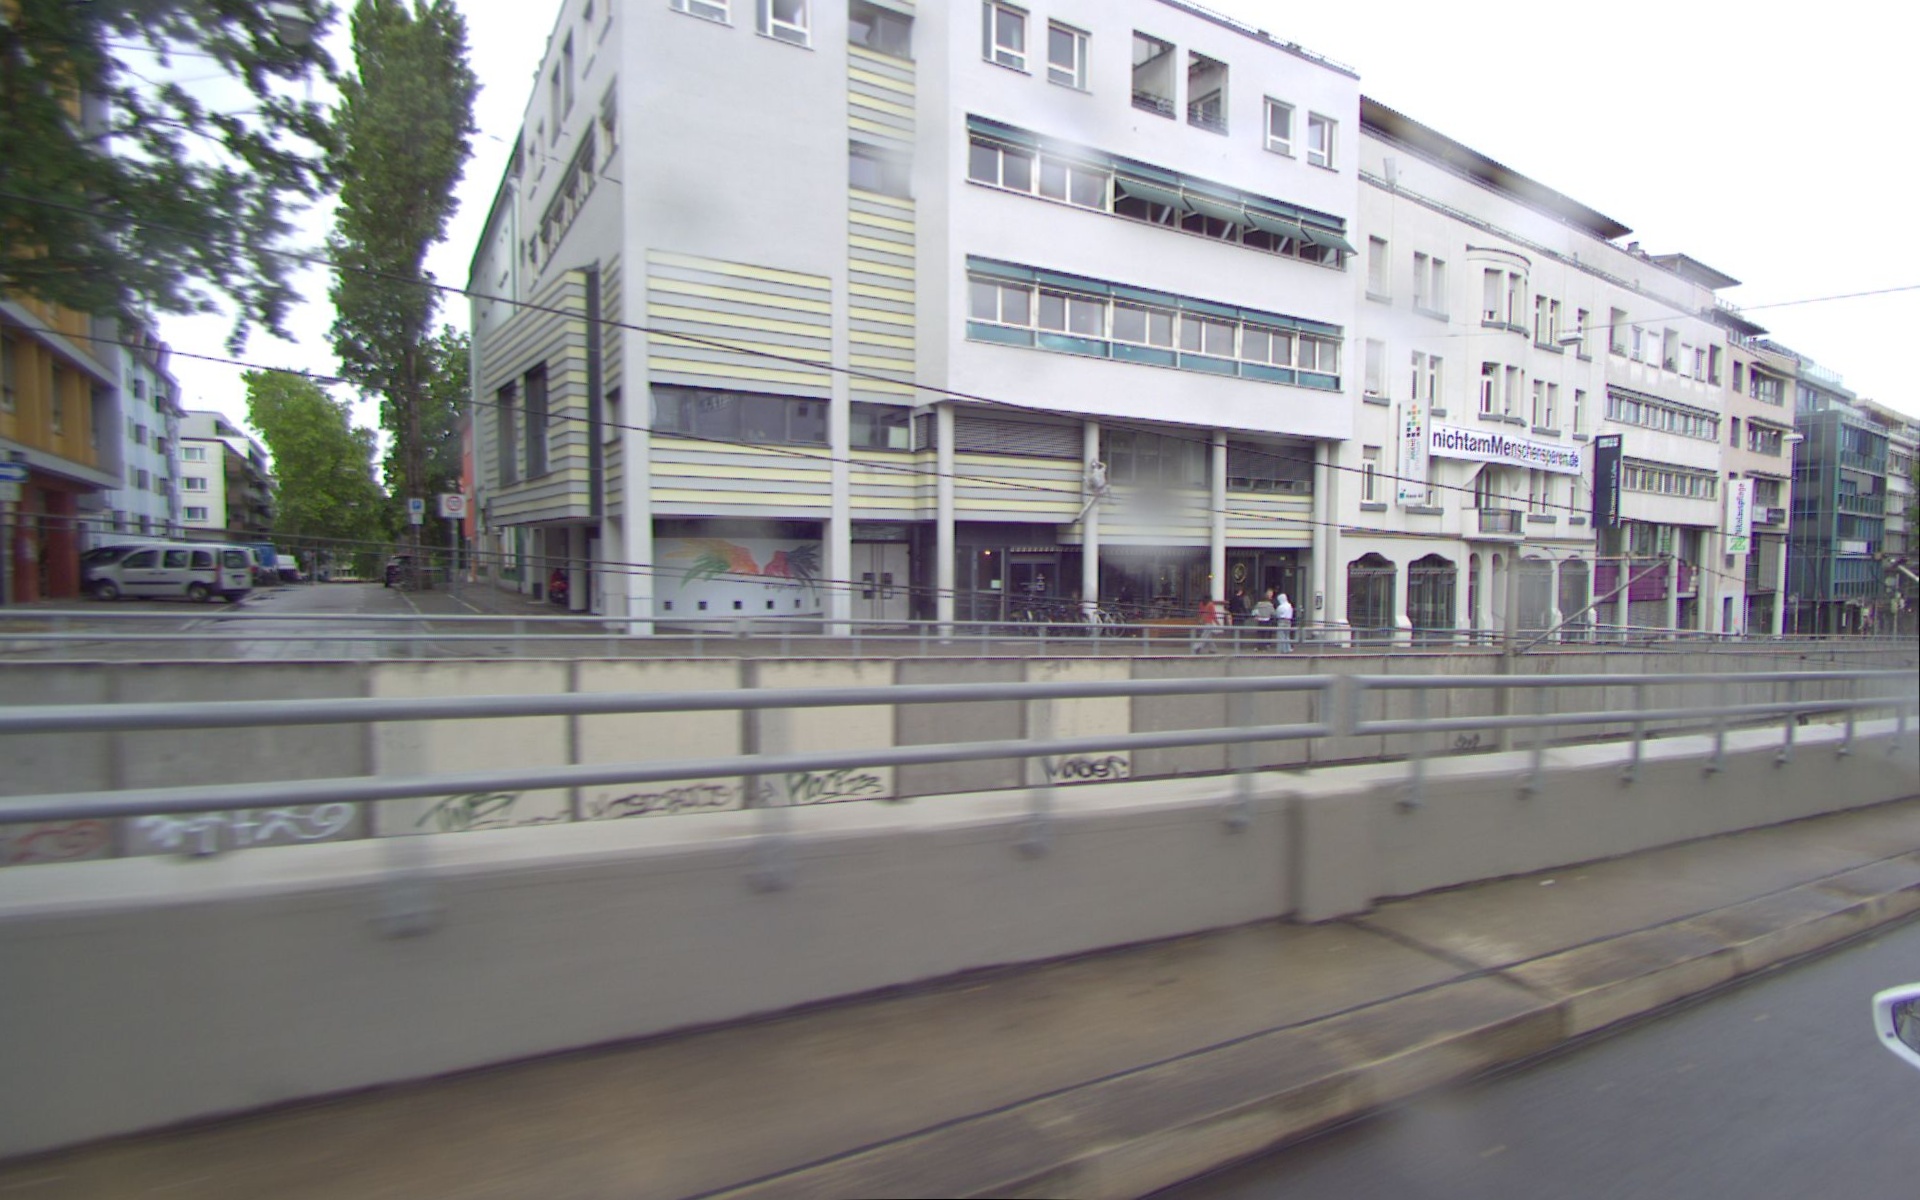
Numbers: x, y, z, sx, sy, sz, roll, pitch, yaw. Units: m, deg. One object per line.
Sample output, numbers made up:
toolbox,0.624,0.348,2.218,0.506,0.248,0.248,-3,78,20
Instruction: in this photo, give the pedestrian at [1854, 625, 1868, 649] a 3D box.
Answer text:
pedestrian,66.378,2.707,73.985,0.483,1.694,0.659,1,1,-36

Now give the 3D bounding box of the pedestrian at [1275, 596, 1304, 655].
pedestrian,9.522,0.729,29.048,0.660,1.665,0.796,2,1,11

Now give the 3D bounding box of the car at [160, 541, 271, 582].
car,-36.015,-1.840,48.729,3.940,1.811,1.821,1,1,-21

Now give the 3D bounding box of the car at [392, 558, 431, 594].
car,-27.751,-1.216,50.899,1.651,1.706,4.040,1,1,-28

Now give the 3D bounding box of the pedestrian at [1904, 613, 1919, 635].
pedestrian,81.610,2.048,86.084,0.859,1.893,0.870,1,2,-38

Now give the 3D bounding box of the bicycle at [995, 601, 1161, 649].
bicycle,3.326,0.685,28.048,4.471,1.058,1.683,1,6,-32

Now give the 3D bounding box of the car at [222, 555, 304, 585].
car,-43.859,-1.852,63.302,3.940,1.750,1.762,1,1,-21

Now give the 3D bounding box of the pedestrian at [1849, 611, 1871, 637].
pedestrian,69.537,1.853,77.601,0.944,1.893,0.863,2,2,-17

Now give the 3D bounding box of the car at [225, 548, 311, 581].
car,-41.560,-2.126,60.387,3.897,1.811,1.821,1,1,-21

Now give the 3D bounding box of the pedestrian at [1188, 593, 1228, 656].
pedestrian,6.645,0.636,26.899,0.663,1.638,0.938,3,2,39

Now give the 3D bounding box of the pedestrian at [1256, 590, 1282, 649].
pedestrian,9.326,0.586,30.307,0.660,1.745,0.609,2,2,15

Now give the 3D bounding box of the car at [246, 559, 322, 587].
car,-45.972,-1.840,68.399,3.940,1.811,1.821,1,1,-21

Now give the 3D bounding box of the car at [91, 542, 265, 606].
car,-24.401,-0.797,31.461,3.924,1.811,1.829,2,1,-6

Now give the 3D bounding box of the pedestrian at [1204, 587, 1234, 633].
pedestrian,8.313,0.311,32.200,0.666,1.438,0.604,1,2,-31

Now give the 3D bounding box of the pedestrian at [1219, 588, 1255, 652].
pedestrian,8.109,0.569,29.403,0.663,1.809,0.938,3,2,39
